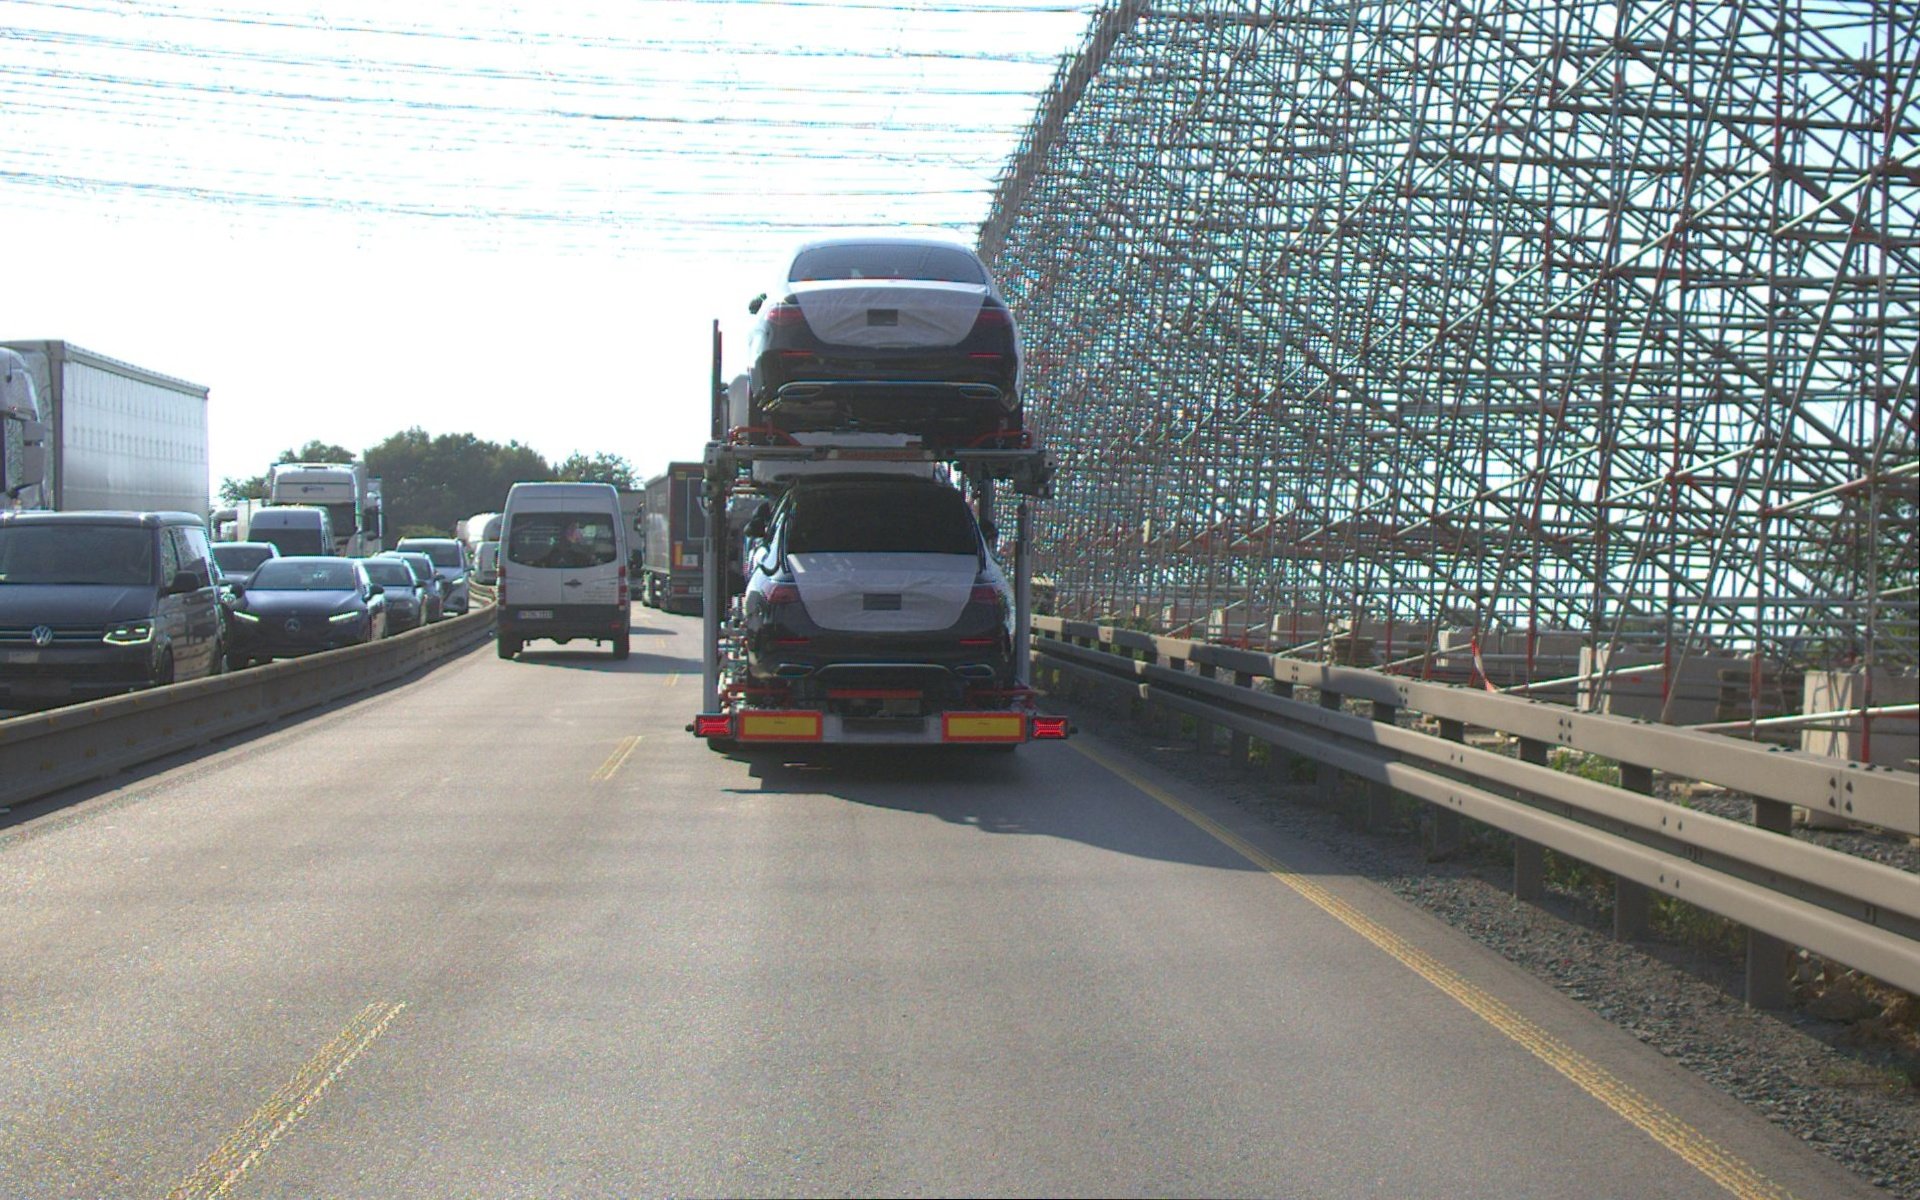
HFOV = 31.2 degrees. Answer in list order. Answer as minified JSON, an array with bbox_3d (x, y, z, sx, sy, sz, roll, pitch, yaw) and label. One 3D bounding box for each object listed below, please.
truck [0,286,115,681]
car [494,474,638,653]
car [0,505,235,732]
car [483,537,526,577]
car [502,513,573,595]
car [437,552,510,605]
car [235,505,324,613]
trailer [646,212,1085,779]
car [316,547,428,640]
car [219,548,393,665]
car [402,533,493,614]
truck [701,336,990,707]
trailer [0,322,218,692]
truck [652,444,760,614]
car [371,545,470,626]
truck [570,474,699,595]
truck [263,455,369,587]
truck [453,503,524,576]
[{"bbox_3d":[-11.558,-1.271,39.652,2.662,4.215,6.105,0,0,-6],"label":"truck"},{"bbox_3d":[-5.973,-0.530,52.523,1.956,2.612,4.000,0,0,-4],"label":"car"},{"bbox_3d":[-8.074,0.120,31.998,1.874,1.928,4.862,1,1,-3],"label":"car"},{"bbox_3d":[-18.884,-1.773,142.545,1.710,1.612,3.504,0,0,-7],"label":"car"},{"bbox_3d":[-13.701,-1.494,111.255,1.993,2.570,4.001,1,1,-10],"label":"car"},{"bbox_3d":[-14.141,-0.630,99.795,1.836,1.448,4.001,1,1,-12],"label":"car"},{"bbox_3d":[-16.612,-1.000,84.067,1.993,2.532,4.001,1,1,-10],"label":"car"},{"bbox_3d":[-0.934,-0.716,30.053,2.868,3.712,14.948,0,0,-2],"label":"trailer"},{"bbox_3d":[-10.404,-0.145,61.063,1.741,1.537,4.407,1,1,-7],"label":"car"},{"bbox_3d":[-8.985,0.053,47.554,1.784,1.497,4.755,1,1,-4],"label":"car"},{"bbox_3d":[-12.426,-0.652,83.542,1.836,1.887,4.001,1,1,-4],"label":"car"},{"bbox_3d":[-1.289,-0.797,38.011,2.881,3.690,7.326,0,0,-2],"label":"truck"},{"bbox_3d":[-12.272,-1.184,46.250,2.653,4.219,13.922,1,1,-5],"label":"trailer"},{"bbox_3d":[-7.099,-1.952,95.614,2.731,4.371,11.523,1,1,-5],"label":"truck"},{"bbox_3d":[-11.366,-0.327,72.629,1.695,1.623,4.001,1,1,-4],"label":"car"},{"bbox_3d":[-12.536,-2.420,131.140,3.686,4.206,13.672,-3,1,-10],"label":"truck"},{"bbox_3d":[-18.261,-2.216,98.004,2.594,3.462,12.395,1,1,-9],"label":"truck"},{"bbox_3d":[-25.246,-3.244,183.754,2.615,3.711,9.662,1,1,-14],"label":"truck"}]
